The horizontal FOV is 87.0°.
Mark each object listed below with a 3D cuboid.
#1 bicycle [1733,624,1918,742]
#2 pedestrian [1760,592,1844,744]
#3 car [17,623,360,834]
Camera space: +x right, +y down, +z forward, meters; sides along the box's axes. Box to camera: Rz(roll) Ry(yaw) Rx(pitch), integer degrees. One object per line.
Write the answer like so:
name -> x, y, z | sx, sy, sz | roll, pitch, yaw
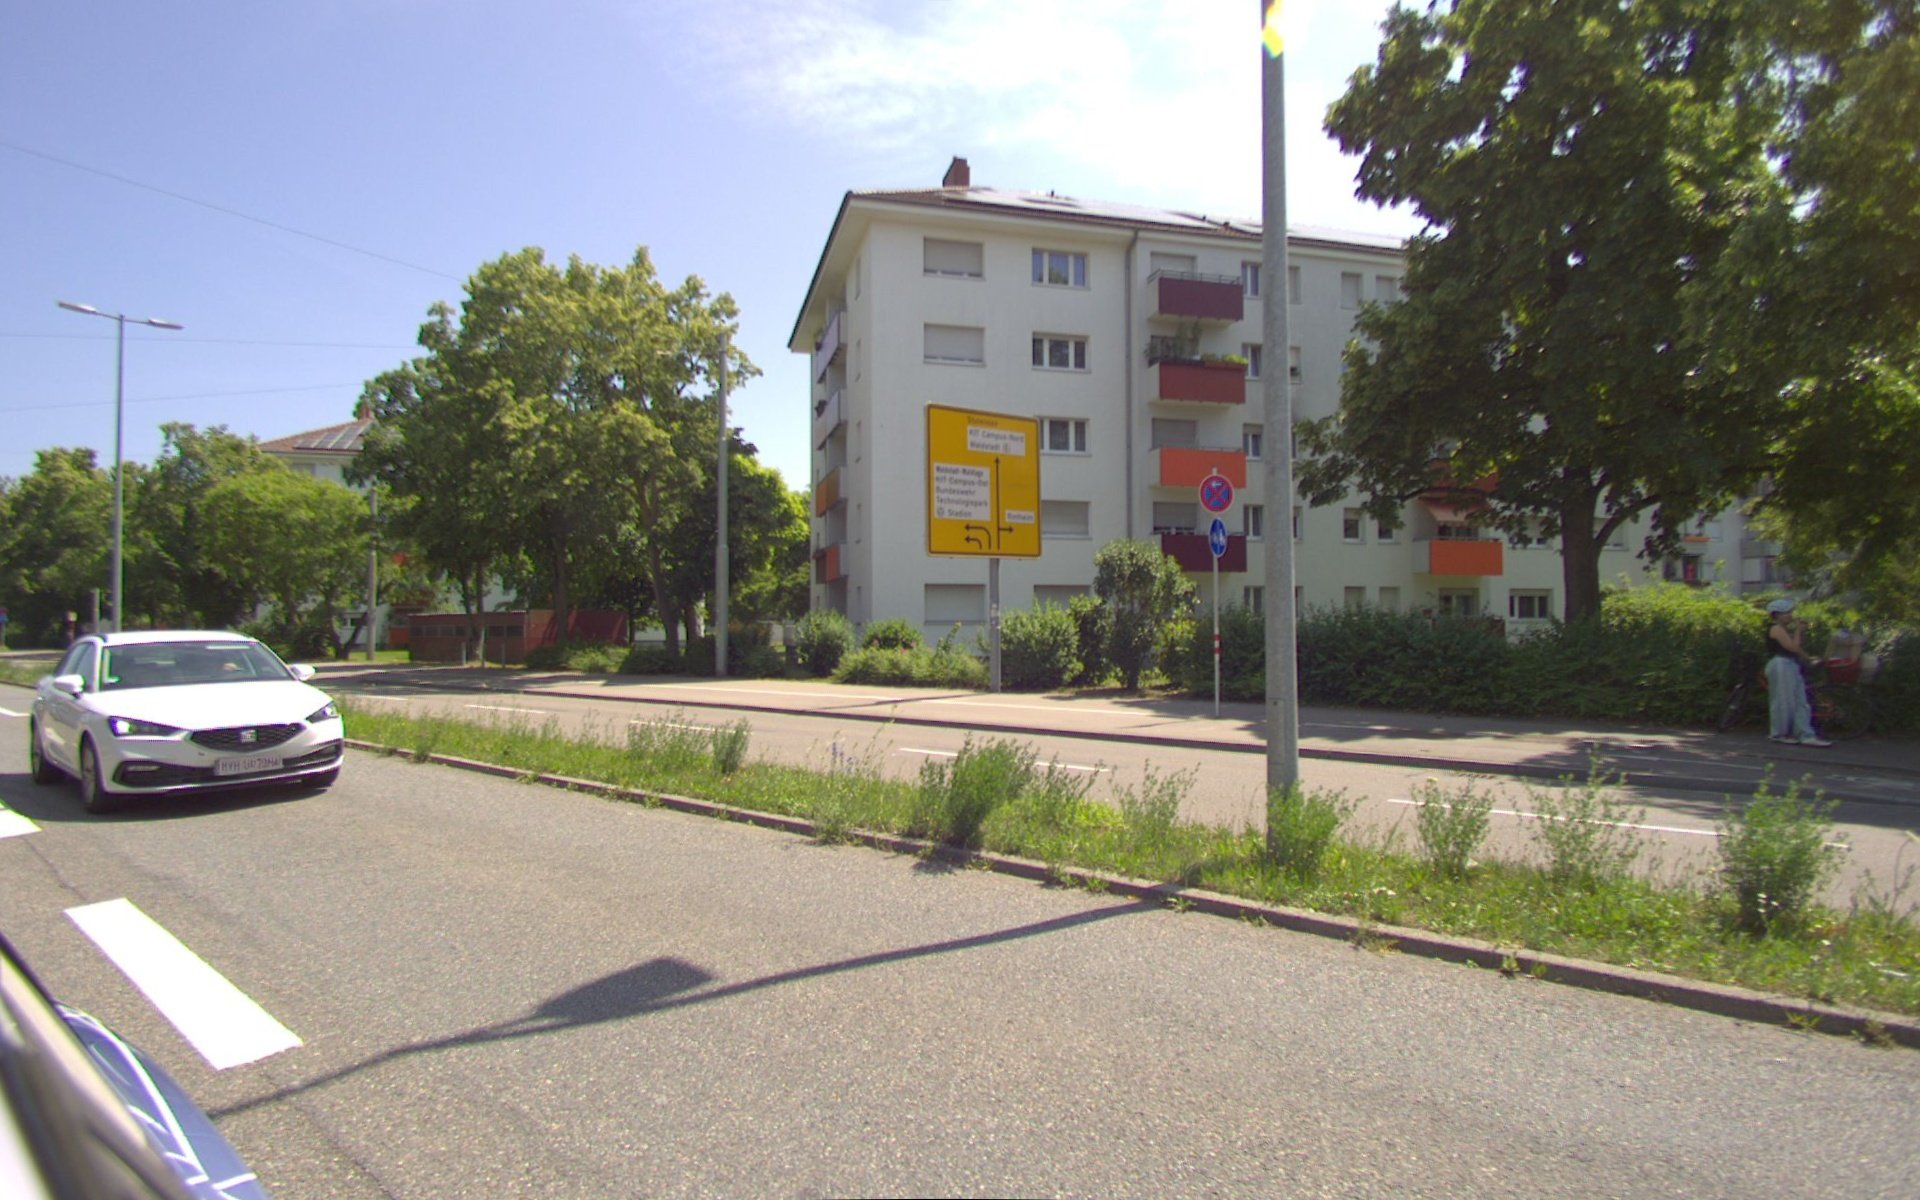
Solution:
bicycle -> 10.489, 0.968, 12.314 | 0.637, 1.338, 1.577 | 1, -2, -36
pedestrian -> 9.976, 0.791, 11.993 | 0.542, 1.731, 0.605 | 1, -2, -35
car -> -7.273, 0.996, 9.387 | 4.109, 1.479, 1.749 | -2, -1, 41
